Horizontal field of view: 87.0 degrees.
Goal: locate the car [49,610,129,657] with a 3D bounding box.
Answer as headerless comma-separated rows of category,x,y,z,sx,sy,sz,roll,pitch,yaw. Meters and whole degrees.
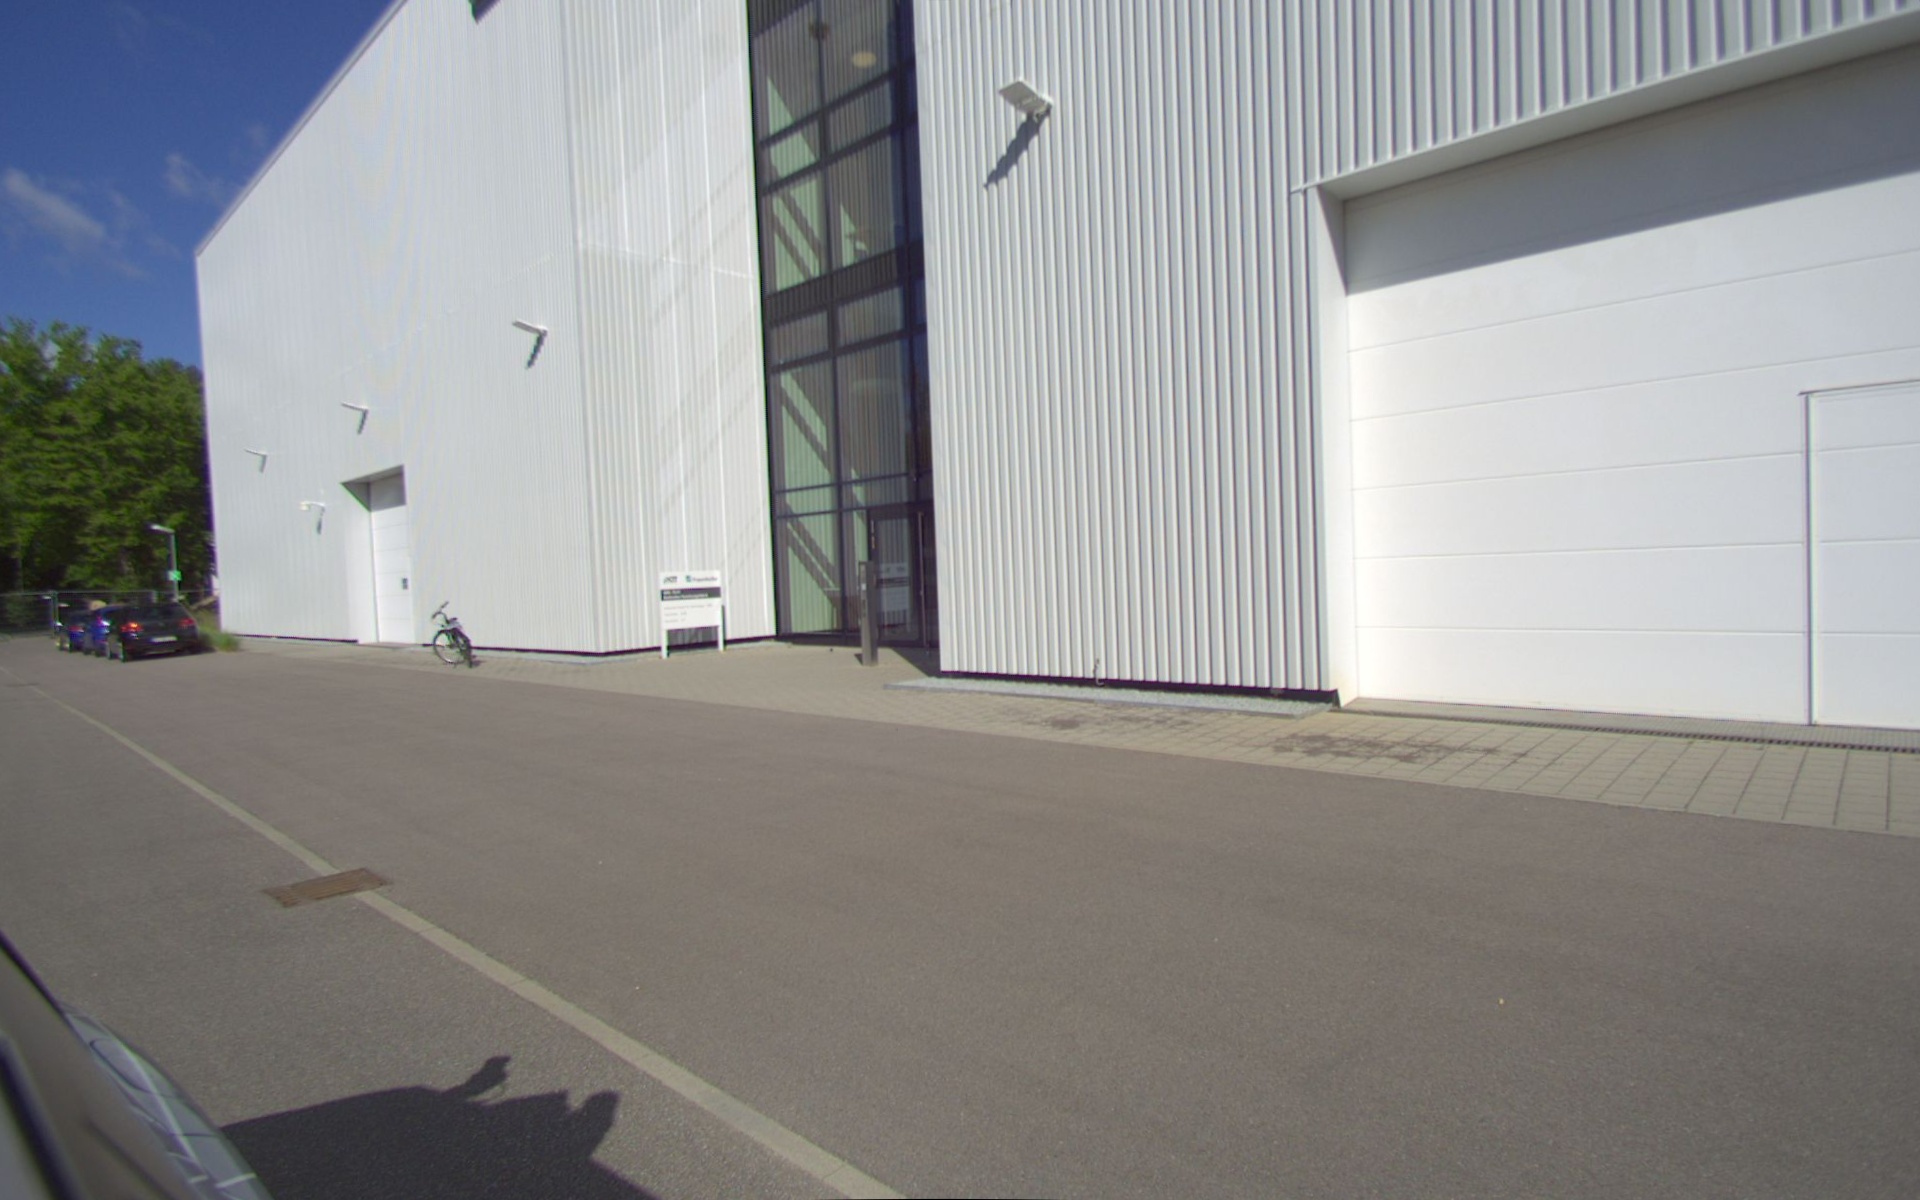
car,-30.027,1.119,34.854,1.765,1.451,4.002,-2,1,-45

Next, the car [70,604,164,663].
car,-25.972,0.994,31.138,1.766,1.532,4.002,-7,4,-45

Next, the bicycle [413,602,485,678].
bicycle,-9.170,0.678,18.117,0.895,1.151,1.905,-6,4,-31

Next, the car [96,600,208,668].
car,-22.081,0.888,27.612,1.870,1.532,4.002,-7,4,-45
